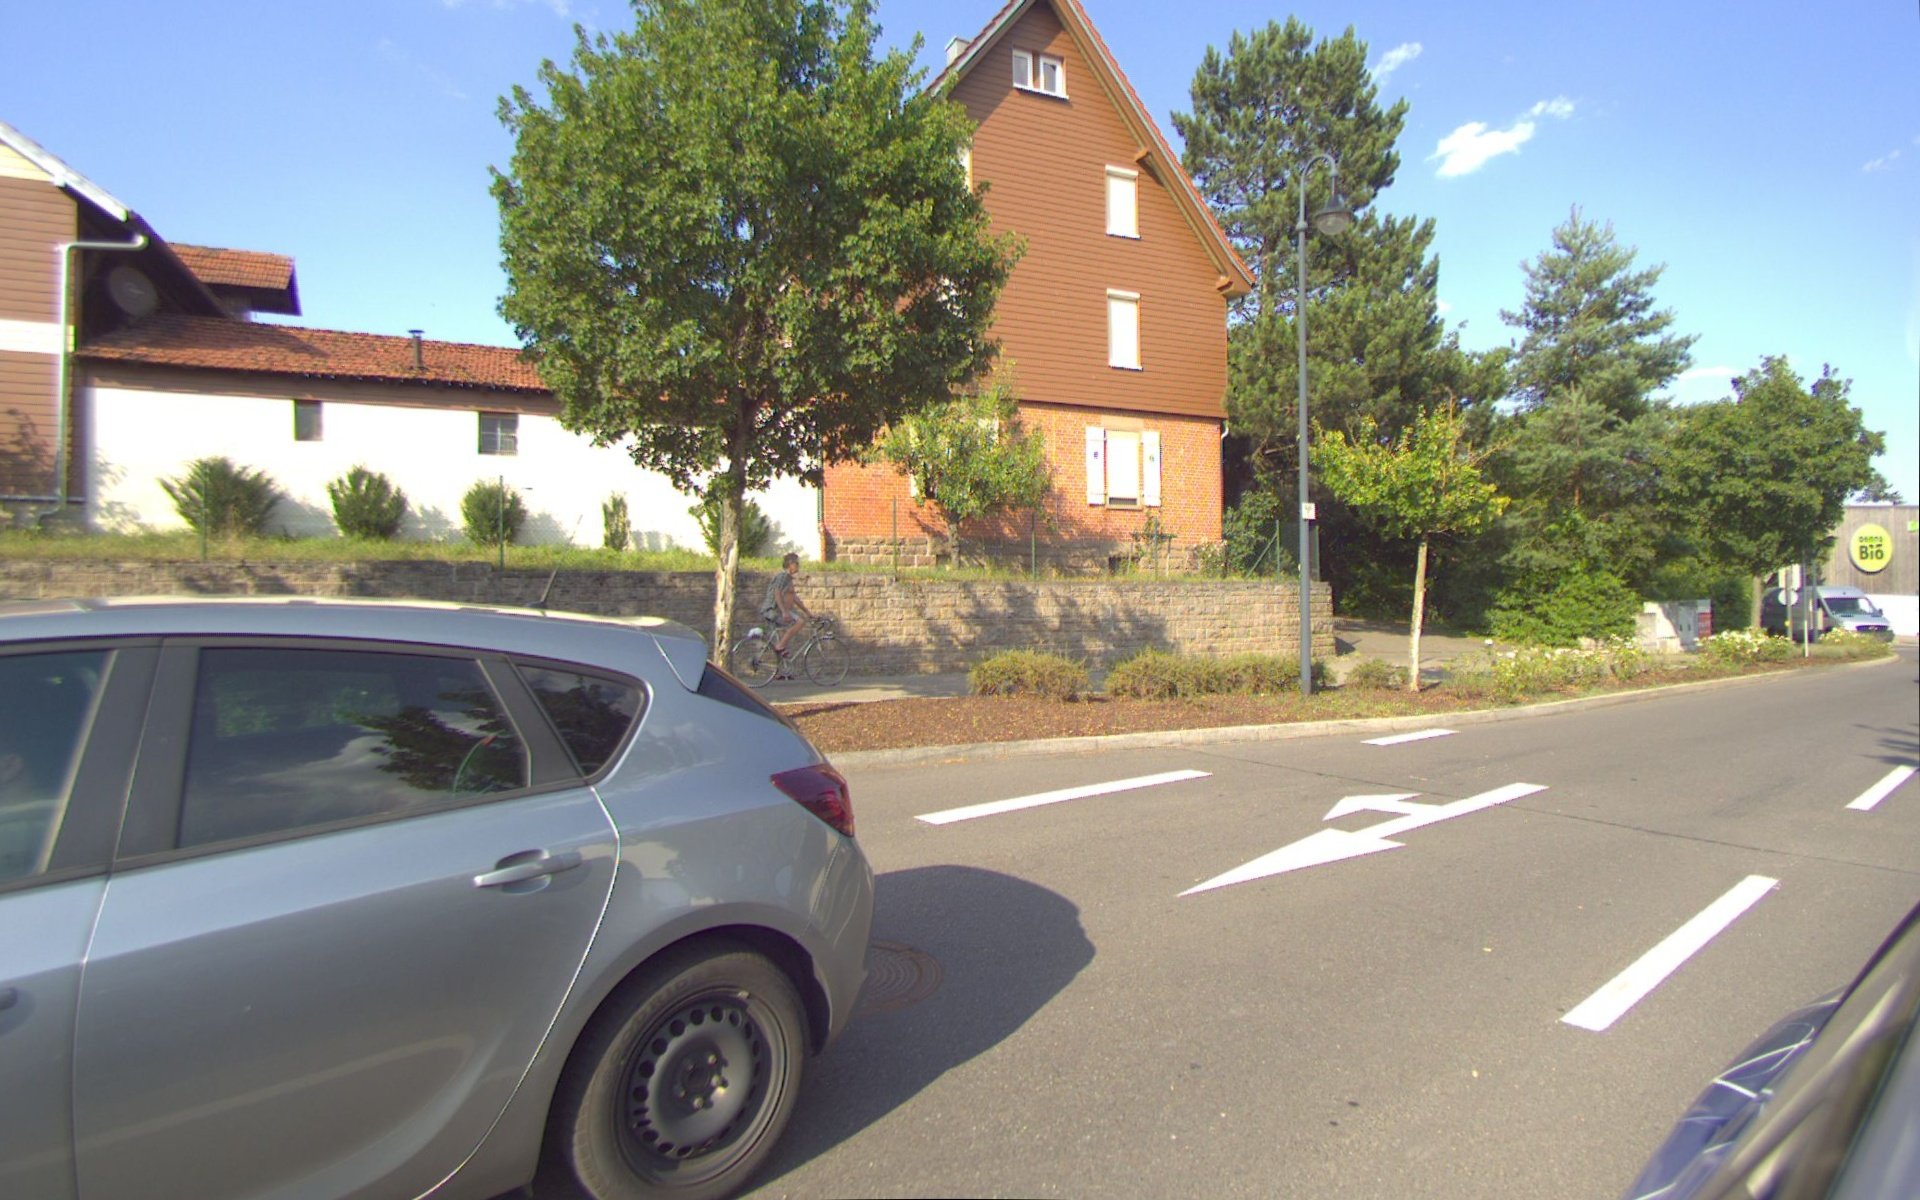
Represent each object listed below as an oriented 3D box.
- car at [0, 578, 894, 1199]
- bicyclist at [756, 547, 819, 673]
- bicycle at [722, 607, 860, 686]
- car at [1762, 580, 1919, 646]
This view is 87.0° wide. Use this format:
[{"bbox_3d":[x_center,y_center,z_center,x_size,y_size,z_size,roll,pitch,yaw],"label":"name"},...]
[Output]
[{"bbox_3d":[-2.291,0.688,2.025,4.093,1.460,1.747,0,1,-40],"label":"car"},{"bbox_3d":[-2.396,0.128,14.041,0.719,1.699,0.605,0,0,-28],"label":"bicyclist"},{"bbox_3d":[-2.333,0.622,14.066,1.838,1.031,0.523,0,0,-29],"label":"bicycle"},{"bbox_3d":[36.805,0.458,42.507,2.336,2.579,6.170,0,1,12],"label":"car"}]
